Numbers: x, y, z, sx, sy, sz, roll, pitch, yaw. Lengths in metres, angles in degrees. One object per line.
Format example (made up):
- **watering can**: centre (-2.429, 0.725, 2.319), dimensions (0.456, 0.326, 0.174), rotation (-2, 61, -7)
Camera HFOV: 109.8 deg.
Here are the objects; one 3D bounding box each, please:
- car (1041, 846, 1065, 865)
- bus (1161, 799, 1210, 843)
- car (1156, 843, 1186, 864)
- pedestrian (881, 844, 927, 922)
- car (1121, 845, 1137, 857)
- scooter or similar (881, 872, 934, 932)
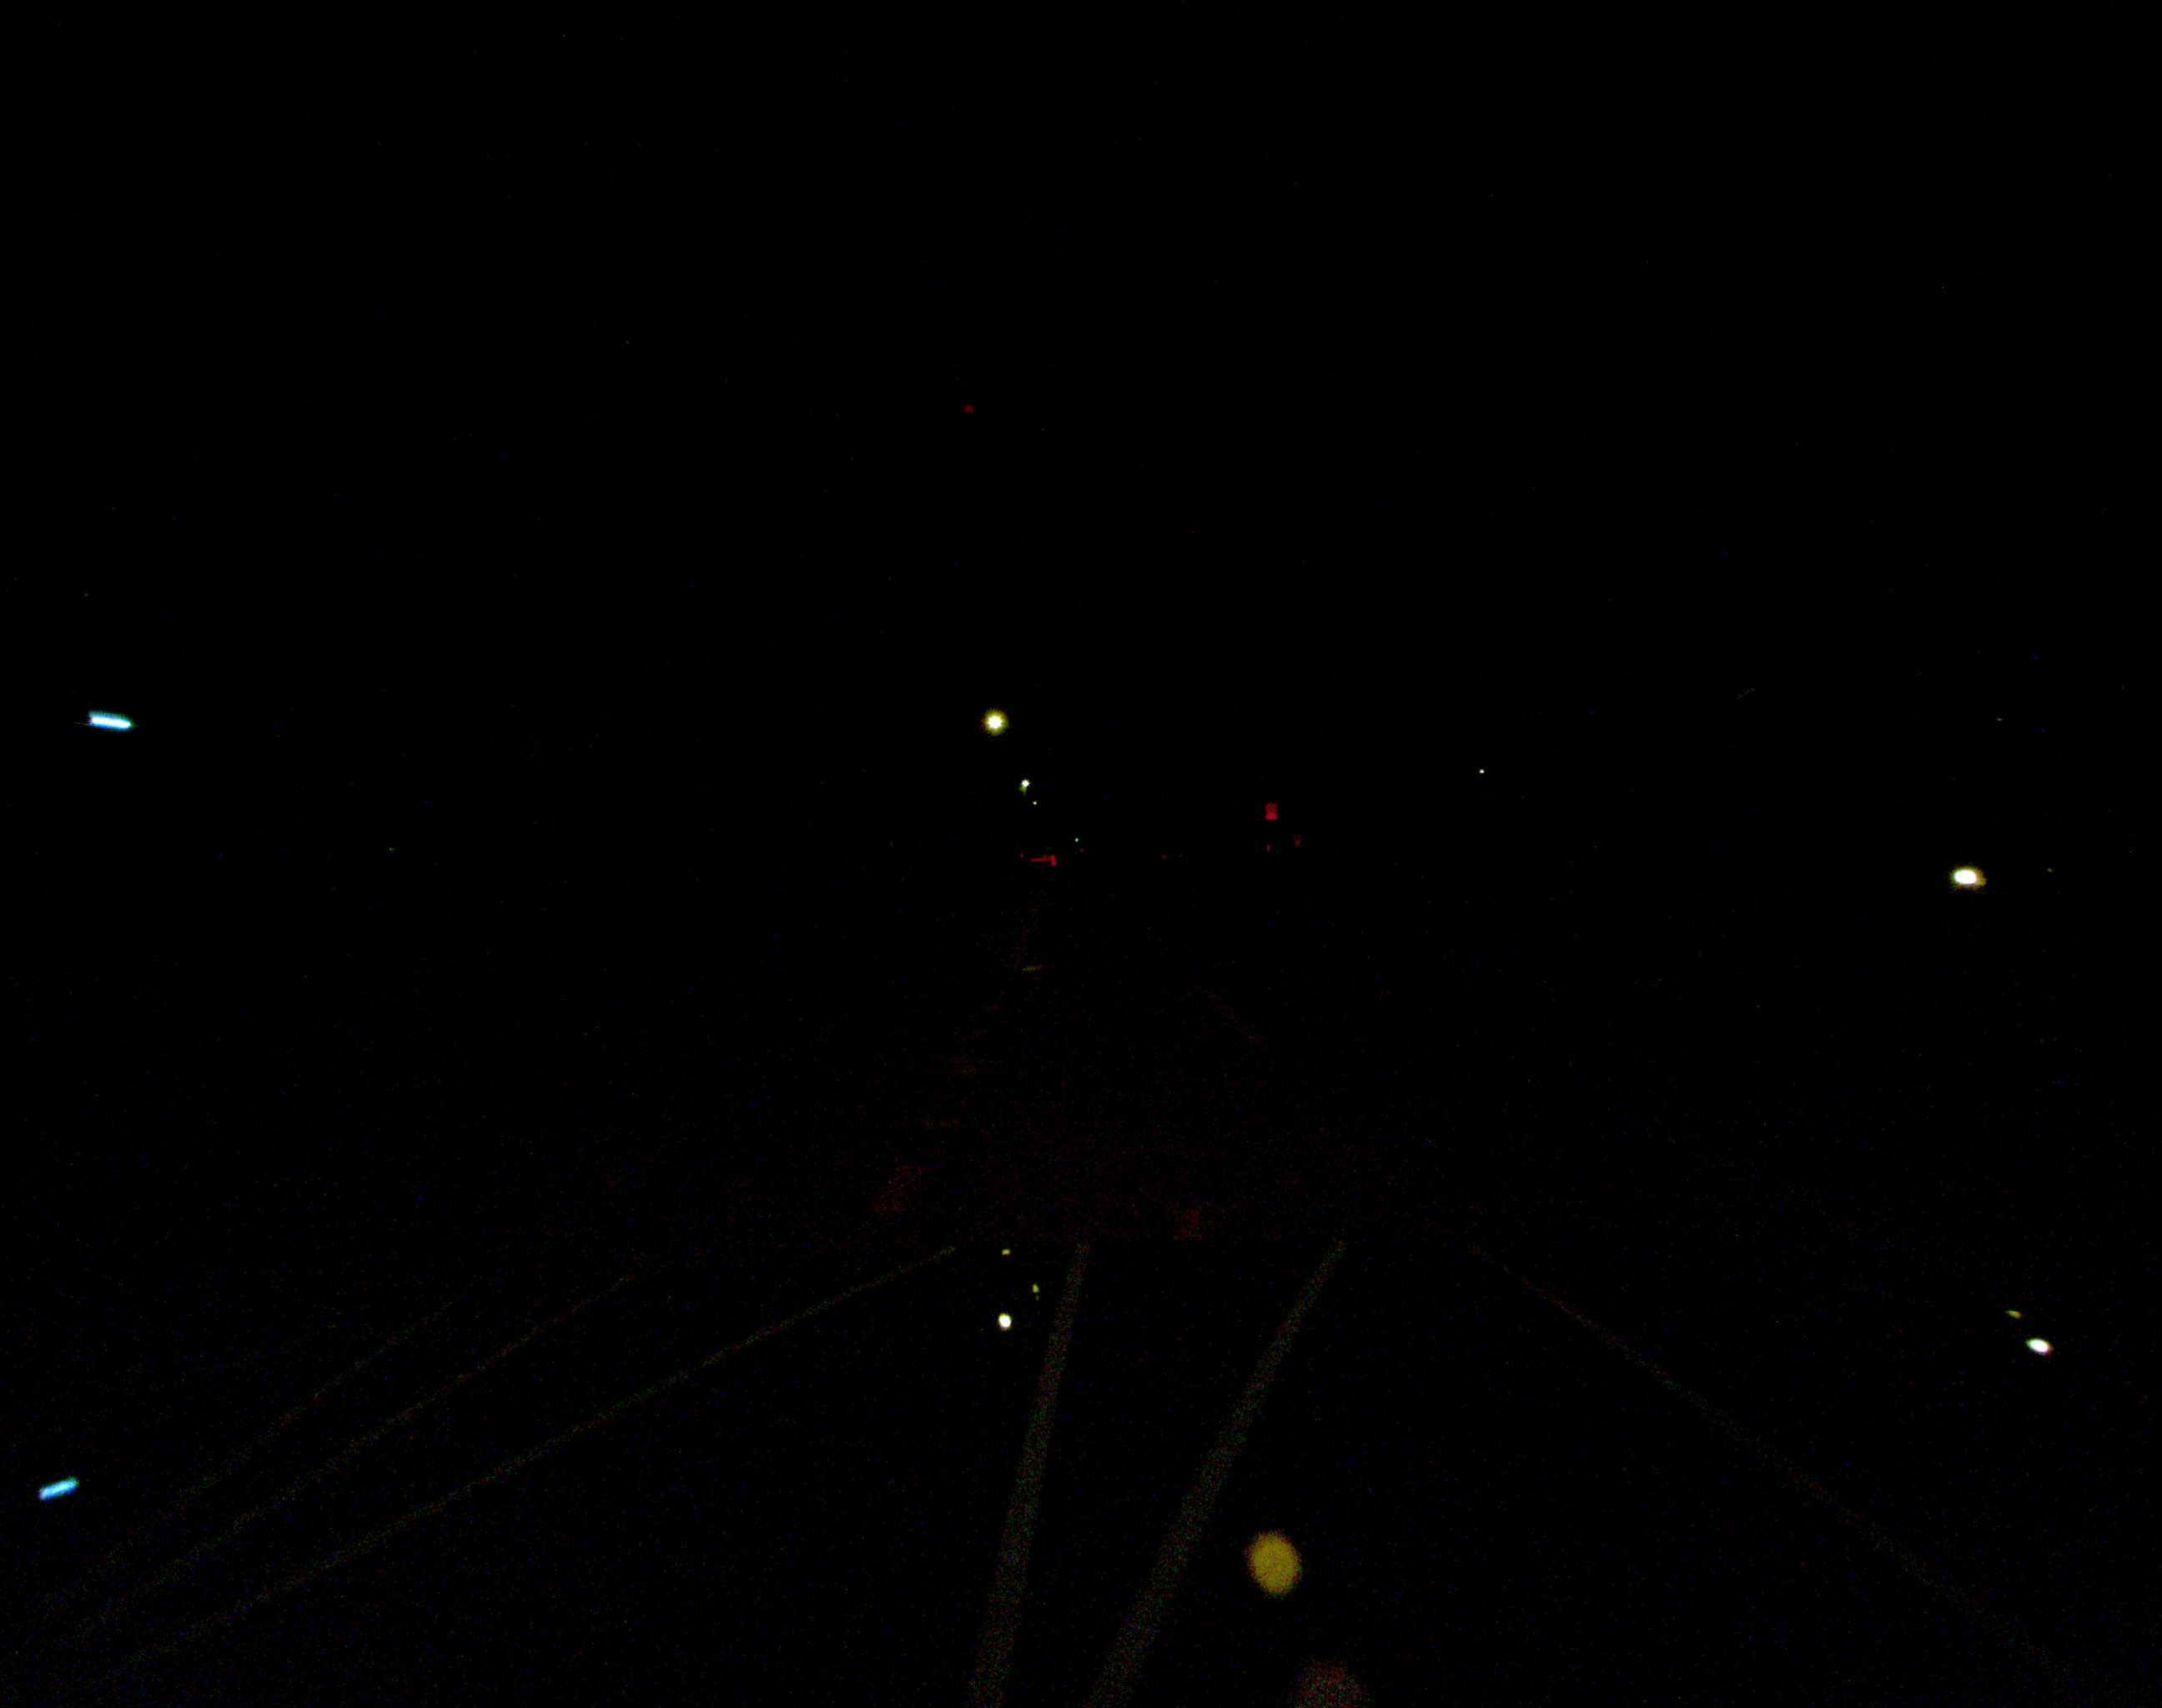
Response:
- **car**: centre (-2.823, 0.122, 78.159), dimensions (1.998, 1.638, 3.999), rotation (1, 3, 4)
- **bus**: centre (17.536, -5.395, 129.255), dimensions (6.135, 6.898, 14.781), rotation (-2, 1, 1)
- **car**: centre (7.152, -0.060, 60.854), dimensions (1.806, 1.583, 3.999), rotation (-2, 1, -1)
- **pedestrian**: centre (-4.396, 0.700, 18.940), dimensions (0.819, 1.854, 1.034), rotation (-2, 1, 1)
- **car**: centre (6.282, -0.432, 100.499), dimensions (1.863, 1.484, 4.080), rotation (-2, 1, 1)
- **scooter or similar**: centre (-3.655, 0.993, 16.067), dimensions (0.468, 1.195, 1.137), rotation (-2, 0, 24)
